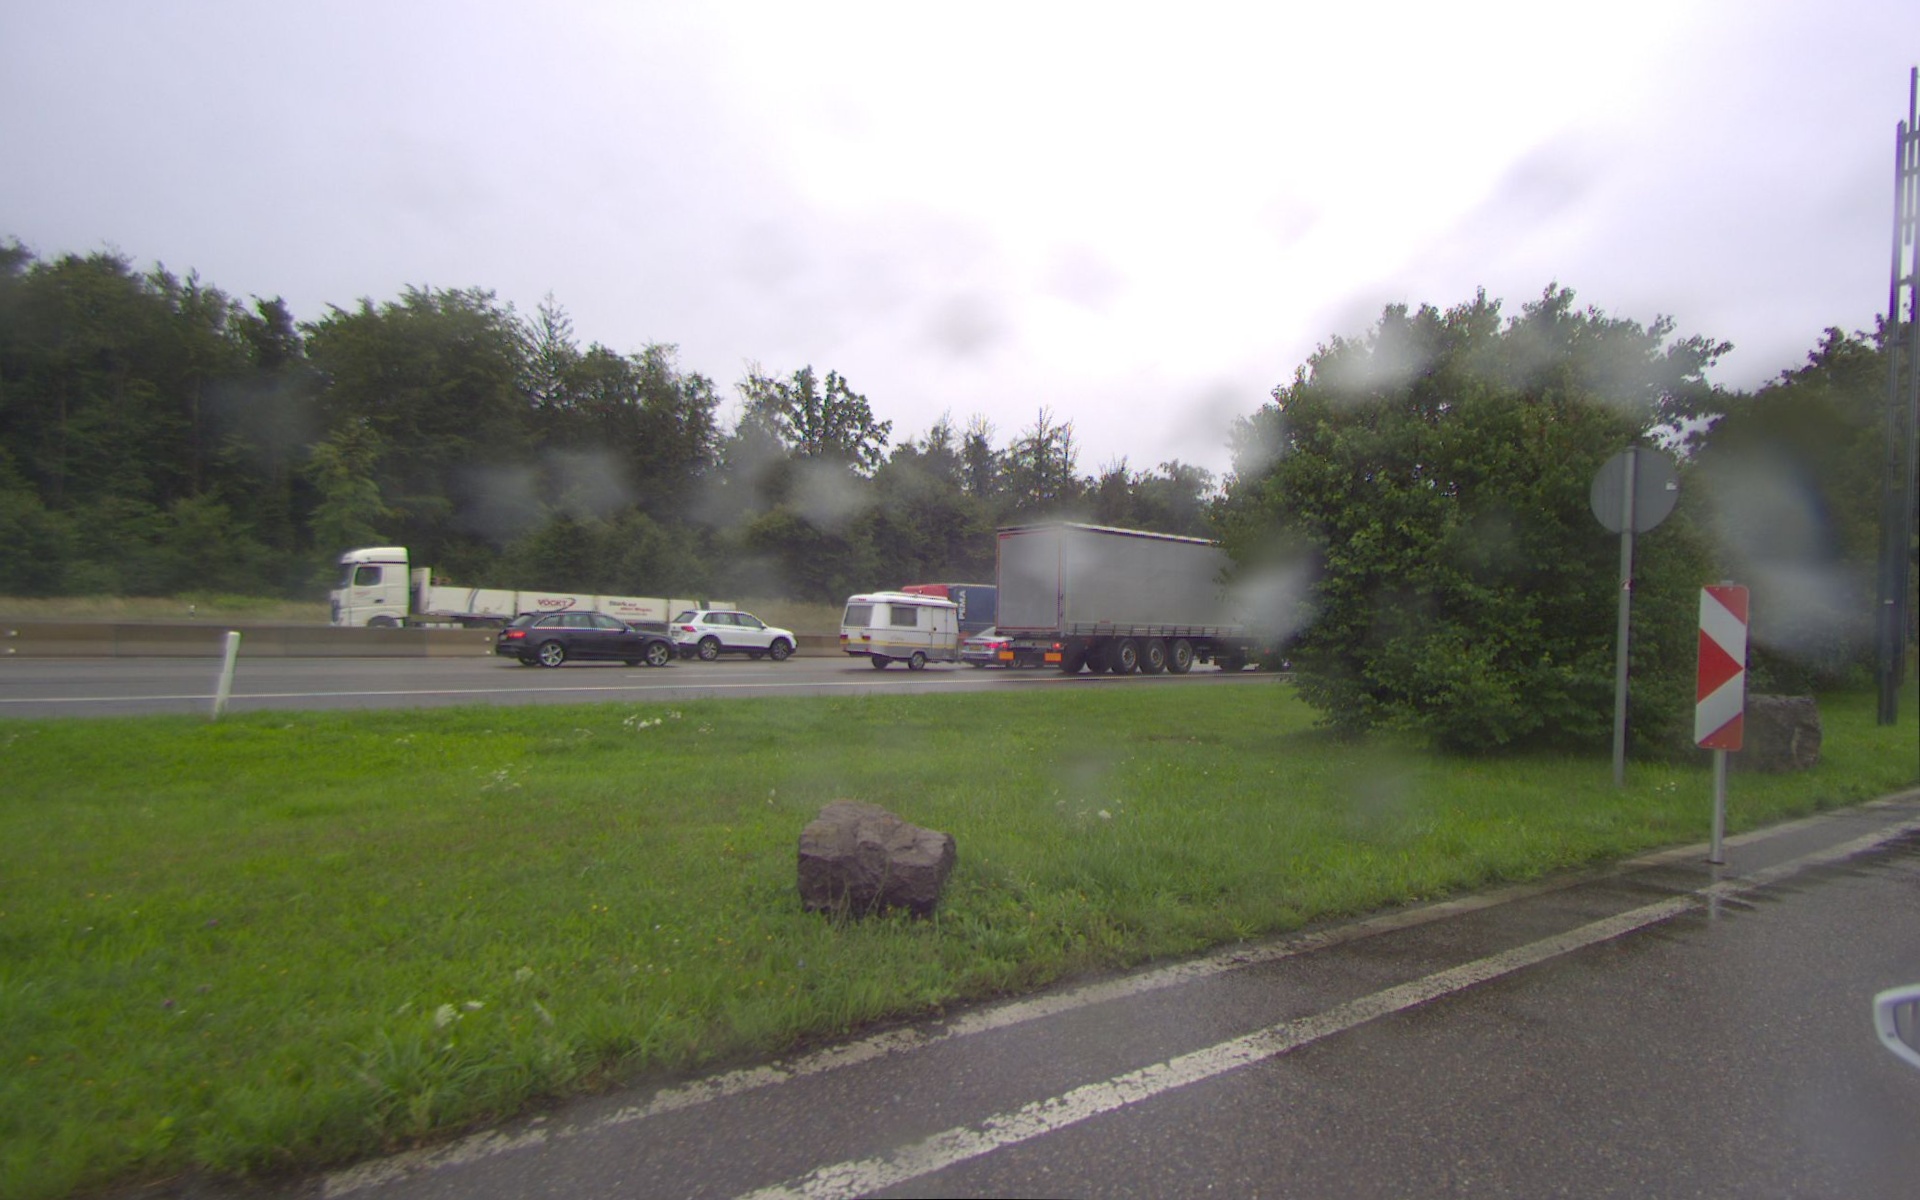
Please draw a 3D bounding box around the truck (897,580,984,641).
[{"bbox_3d":[-1.227,0.684,63.618,5.130,3.556,2.171,3,2,-42],"label":"truck"}]

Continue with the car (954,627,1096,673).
[{"bbox_3d":[2.136,1.595,32.035,4.546,1.366,1.830,3,-3,-41],"label":"car"}]

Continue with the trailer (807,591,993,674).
[{"bbox_3d":[-1.658,0.976,29.057,5.139,2.184,2.111,3,-3,-41],"label":"trailer"}]

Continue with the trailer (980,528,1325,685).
[{"bbox_3d":[6.713,0.504,31.653,14.016,4.034,2.869,3,-3,-42],"label":"trailer"}]

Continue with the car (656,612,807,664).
[{"bbox_3d":[-7.611,1.290,33.685,4.491,1.561,1.977,3,-1,-39],"label":"car"}]

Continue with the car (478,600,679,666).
[{"bbox_3d":[-9.886,0.894,26.198,4.491,1.560,1.977,4,-3,-39],"label":"car"}]

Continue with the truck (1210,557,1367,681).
[{"bbox_3d":[12.008,0.780,36.508,5.891,4.105,2.847,3,-3,-42],"label":"truck"}]

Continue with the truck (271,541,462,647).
[{"bbox_3d":[-22.748,-0.228,38.628,5.945,3.719,2.599,1,3,-41],"label":"truck"}]

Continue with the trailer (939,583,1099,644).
[{"bbox_3d":[4.324,1.013,68.567,13.036,3.543,2.170,3,1,-42],"label":"trailer"}]

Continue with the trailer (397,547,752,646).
[{"bbox_3d":[-16.322,-0.089,44.261,14.557,3.730,2.592,1,3,-41],"label":"trailer"}]
